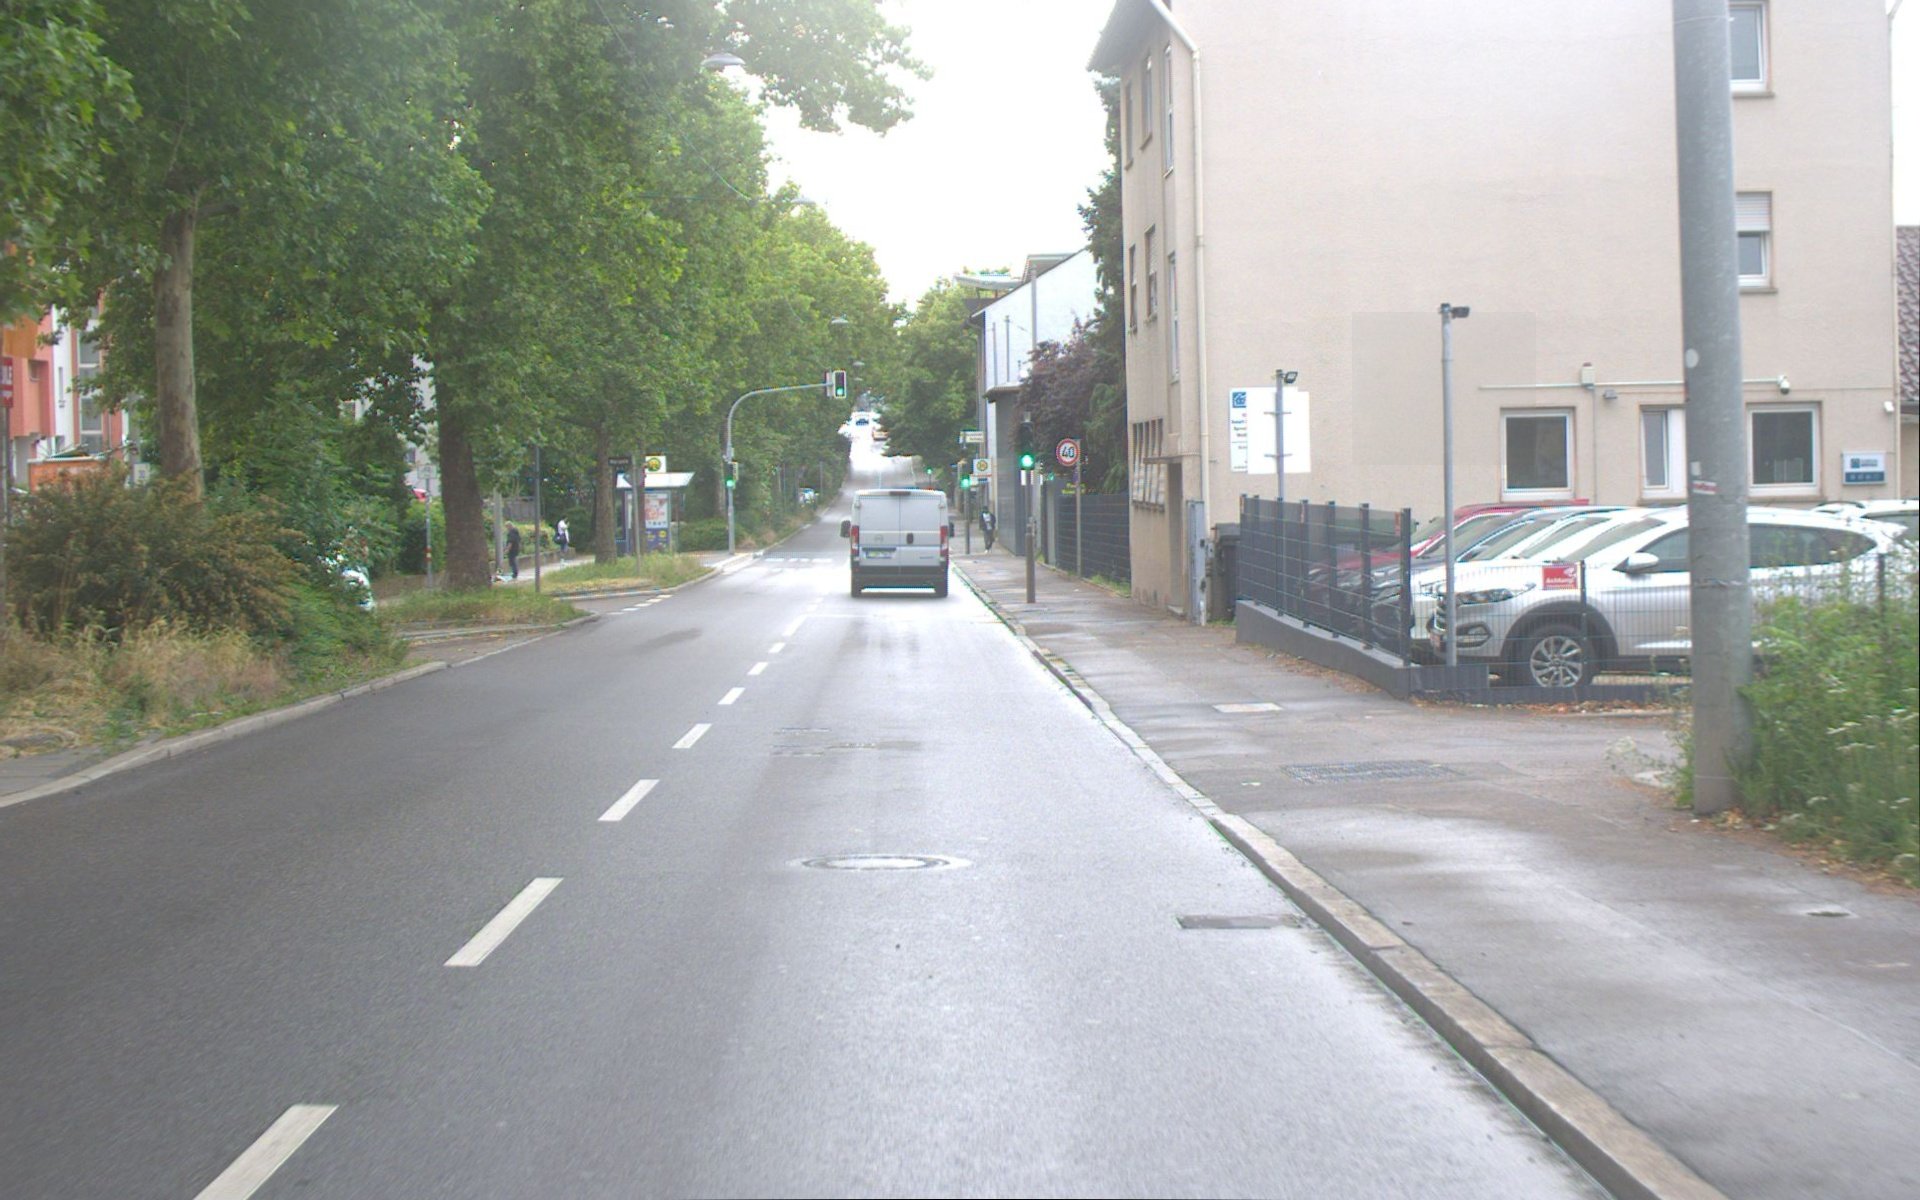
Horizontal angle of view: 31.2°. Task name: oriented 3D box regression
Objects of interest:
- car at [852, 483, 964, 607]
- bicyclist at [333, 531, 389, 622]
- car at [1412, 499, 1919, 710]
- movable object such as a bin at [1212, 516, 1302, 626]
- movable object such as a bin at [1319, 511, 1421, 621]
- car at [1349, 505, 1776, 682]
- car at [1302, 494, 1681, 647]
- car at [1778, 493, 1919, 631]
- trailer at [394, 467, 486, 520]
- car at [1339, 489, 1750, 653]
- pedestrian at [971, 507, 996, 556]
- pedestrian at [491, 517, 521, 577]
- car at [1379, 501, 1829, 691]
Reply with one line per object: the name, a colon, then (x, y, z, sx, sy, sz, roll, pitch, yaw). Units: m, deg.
car: (-1.092, -1.134, 72.477, 2.282, 2.544, 4.000, 0, 0, -1)
bicyclist: (-10.377, -0.405, 59.606, 0.832, 1.547, 0.817, 1, 0, -2)
car: (6.297, 0.037, 30.391, 4.302, 1.762, 2.000, 1, 0, -1)
movable object such as a bin: (4.253, -0.415, 49.333, 1.110, 1.504, 0.987, -3, 0, -1)
movable object such as a bin: (5.866, -0.486, 49.222, 1.234, 1.504, 1.111, -3, 0, -1)
car: (6.205, -0.072, 35.720, 4.066, 1.730, 1.870, 1, 0, -1)
car: (6.341, -0.350, 41.348, 4.228, 1.730, 1.870, 1, 0, -1)
car: (10.916, -0.423, 40.025, 1.808, 1.525, 3.628, 1, 0, -2)
trailer: (-16.581, -3.397, 109.763, 2.704, 1.639, 1.480, 1, 1, 0)
car: (6.480, -0.320, 38.424, 4.228, 1.730, 1.870, 1, 0, -1)
pedestrian: (0.831, -2.423, 121.542, 0.742, 1.698, 0.902, 1, 0, -6)
pedestrian: (-12.430, -1.451, 94.065, 0.755, 1.605, 0.835, 1, 0, -5)
car: (6.137, -0.053, 33.081, 3.948, 1.718, 1.791, 1, 1, -1)
